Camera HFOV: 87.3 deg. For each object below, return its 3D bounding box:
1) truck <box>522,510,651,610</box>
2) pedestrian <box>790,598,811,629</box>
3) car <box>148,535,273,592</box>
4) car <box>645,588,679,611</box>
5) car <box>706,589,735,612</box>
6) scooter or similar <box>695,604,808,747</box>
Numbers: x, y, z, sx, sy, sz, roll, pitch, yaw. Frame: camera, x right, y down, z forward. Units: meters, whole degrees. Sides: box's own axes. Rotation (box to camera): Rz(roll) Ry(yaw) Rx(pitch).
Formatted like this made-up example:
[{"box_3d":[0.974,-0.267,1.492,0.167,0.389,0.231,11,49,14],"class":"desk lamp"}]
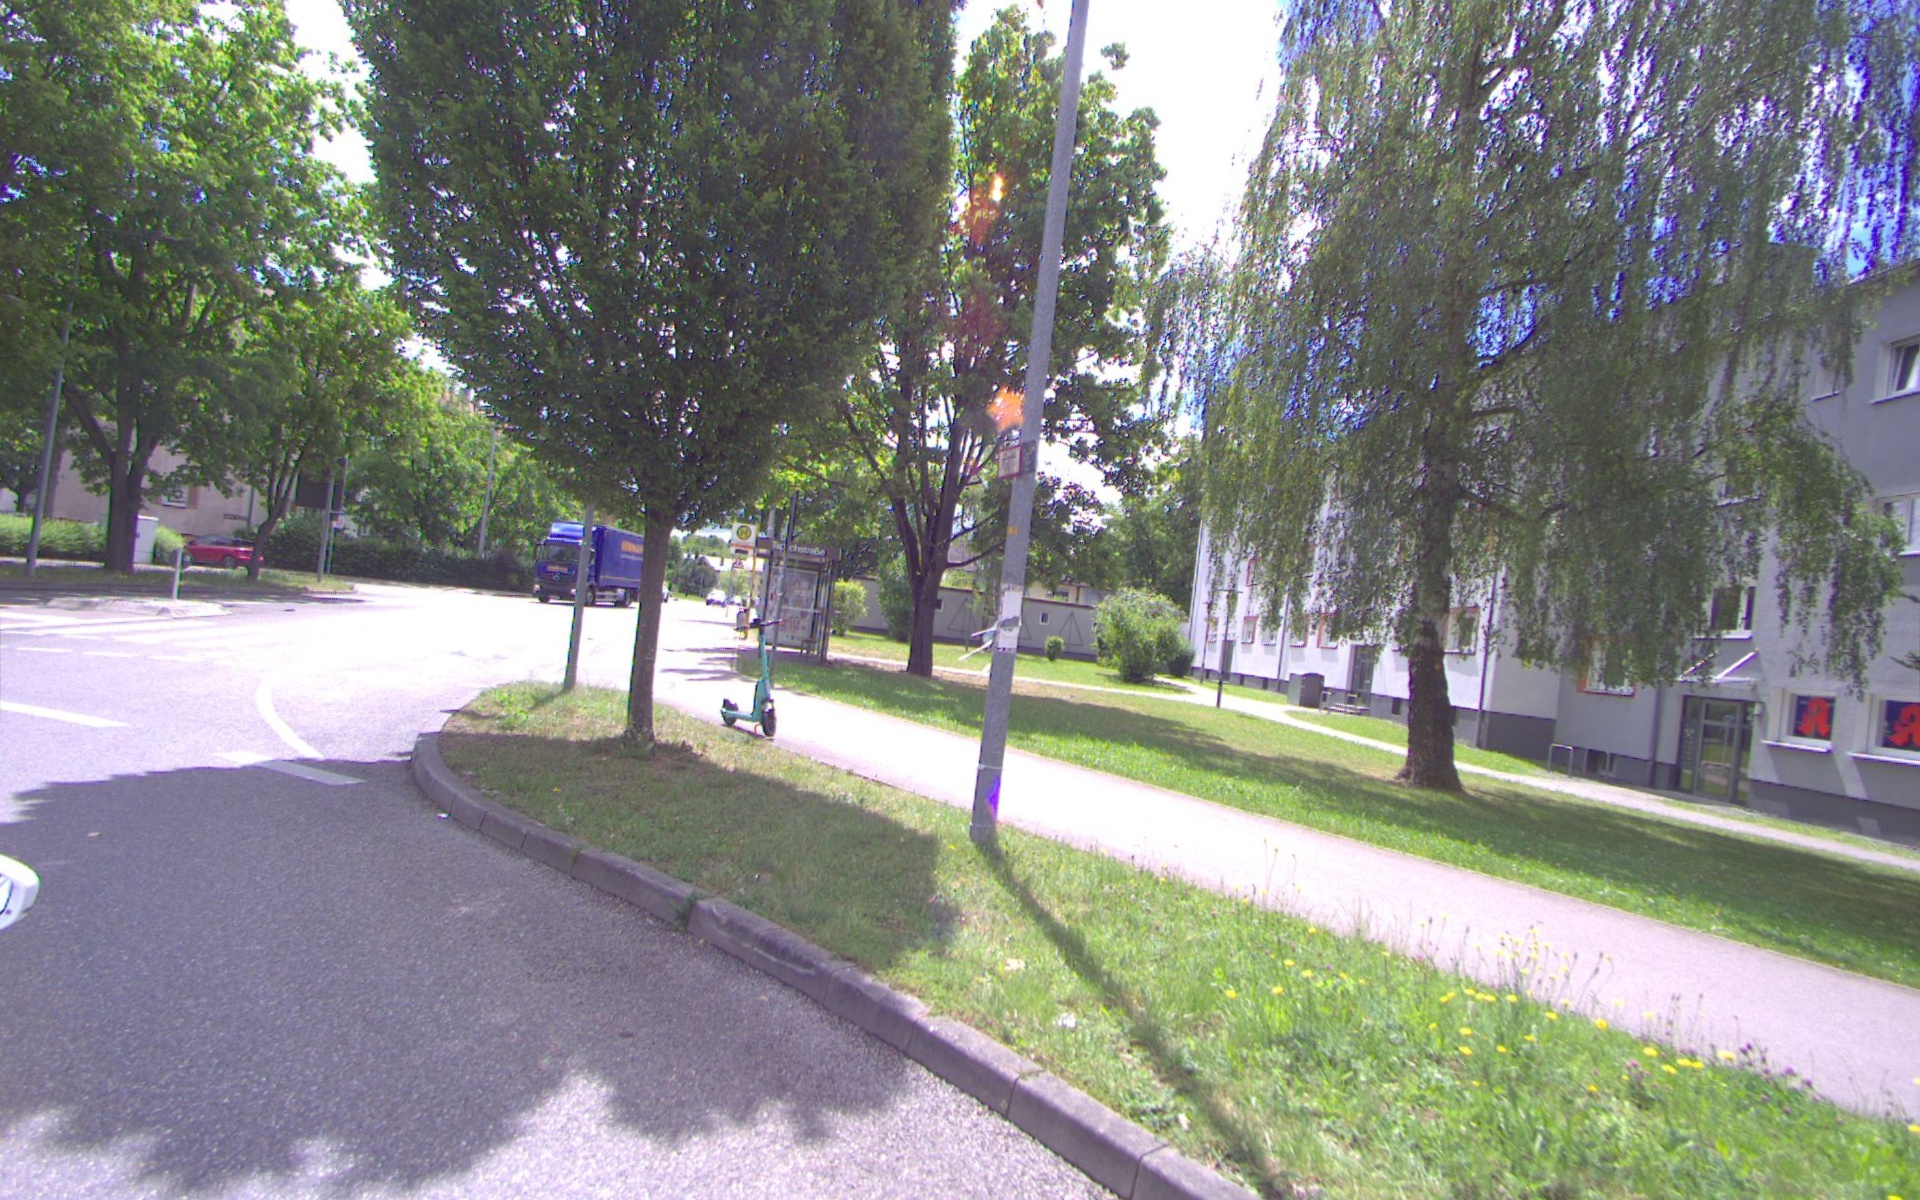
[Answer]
[{"box_3d":[-18.991,-1.813,51.968,2.738,4.202,9.800,6,-1,-1],"class":"truck"},{"box_3d":[-8.776,0.762,55.321,0.887,1.601,0.660,7,1,1],"class":"pedestrian"},{"box_3d":[-34.047,-1.628,45.789,3.928,1.963,2.019,8,-2,-4],"class":"car"},{"box_3d":[-24.538,-0.007,82.978,1.966,1.570,3.998,8,-2,-8],"class":"car"},{"box_3d":[-23.427,0.061,98.346,1.964,1.801,4.001,7,-2,-4],"class":"car"},{"box_3d":[-2.303,0.800,10.994,0.482,1.360,1.372,6,2,-40],"class":"scooter or similar"}]
